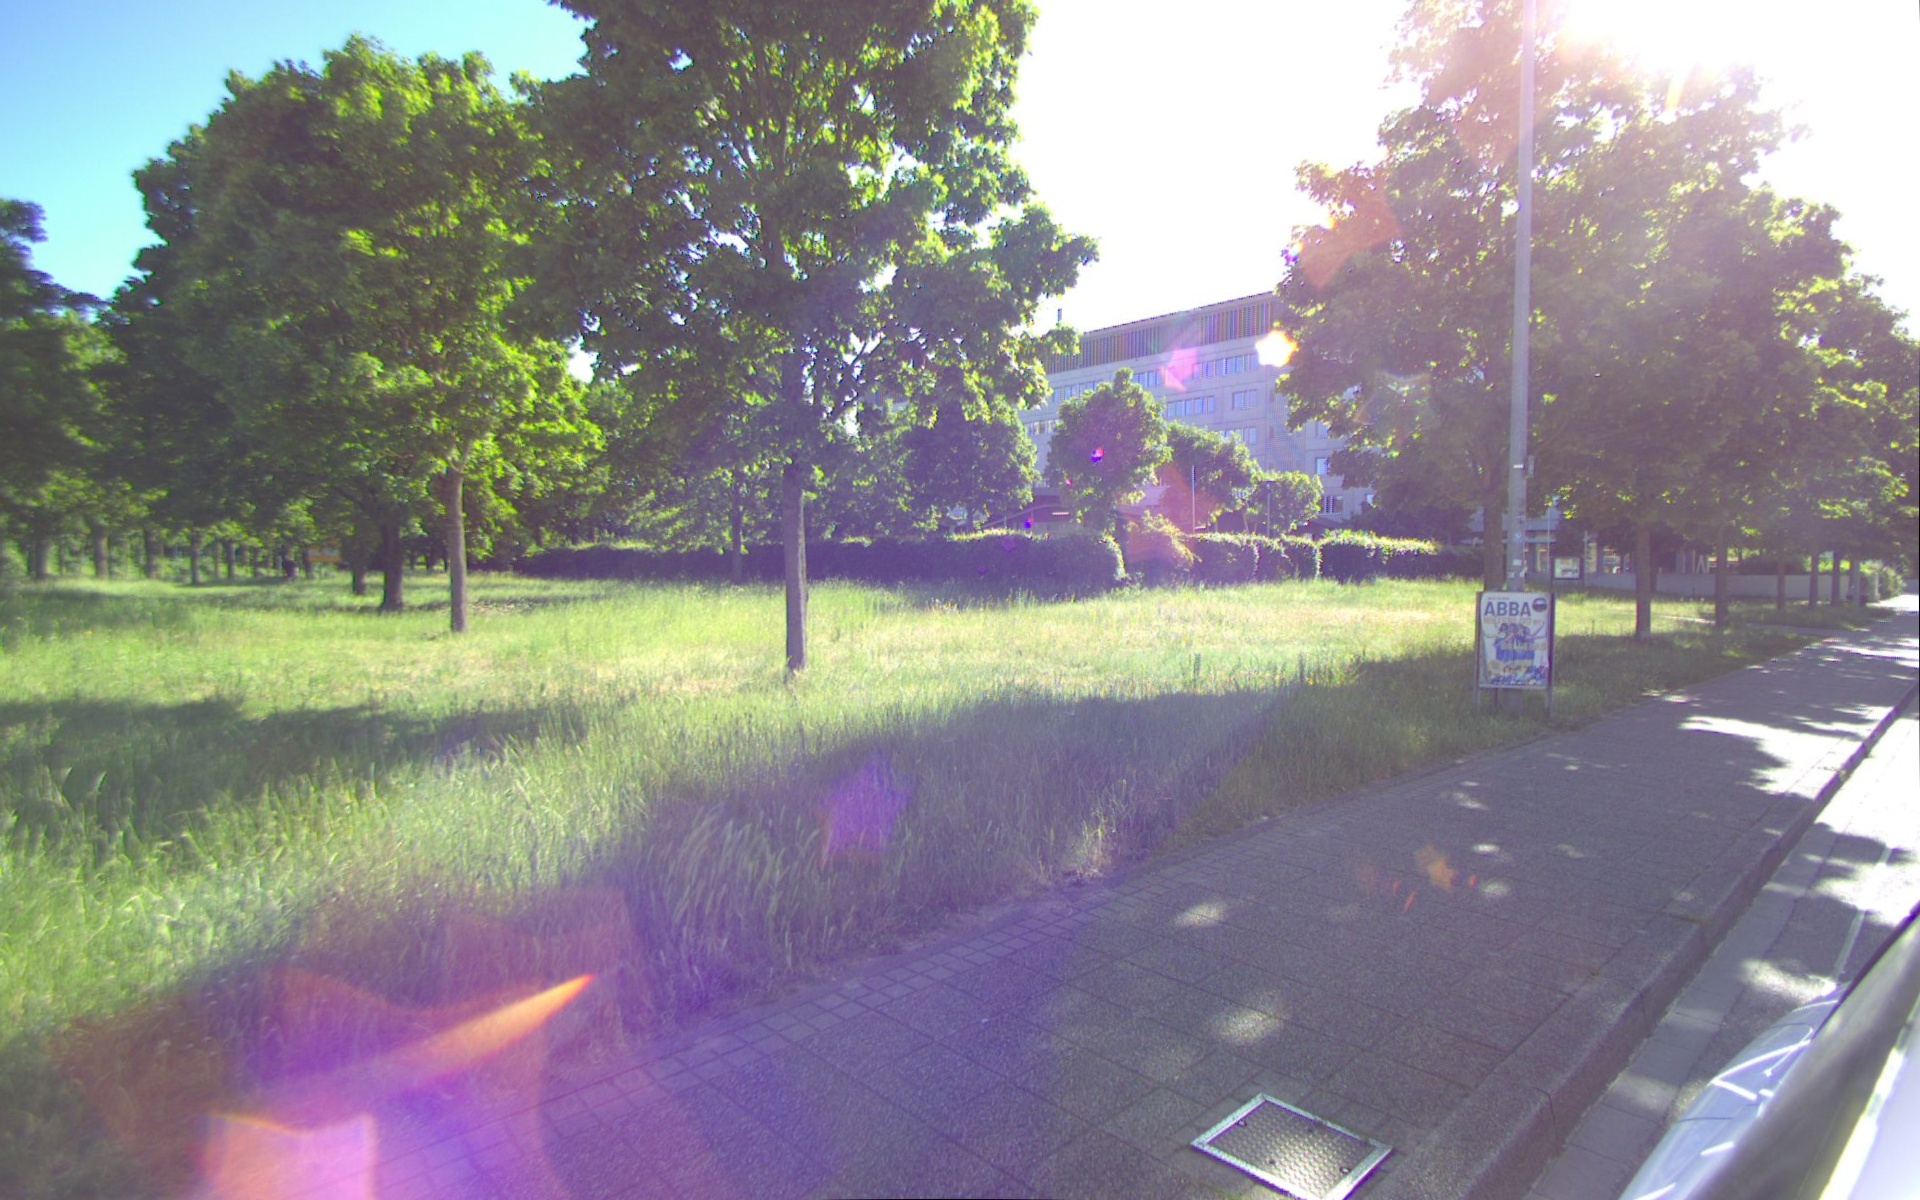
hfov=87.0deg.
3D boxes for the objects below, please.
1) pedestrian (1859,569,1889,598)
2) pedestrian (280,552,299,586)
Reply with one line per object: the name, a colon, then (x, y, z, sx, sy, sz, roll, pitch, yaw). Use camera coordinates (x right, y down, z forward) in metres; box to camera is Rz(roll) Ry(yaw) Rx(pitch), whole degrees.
pedestrian: (39.502, -0.712, 43.739, 0.842, 1.232, 0.720, 3, 3, 35)
pedestrian: (-34.639, -1.585, 52.264, 0.726, 1.748, 0.888, 0, 1, -39)
